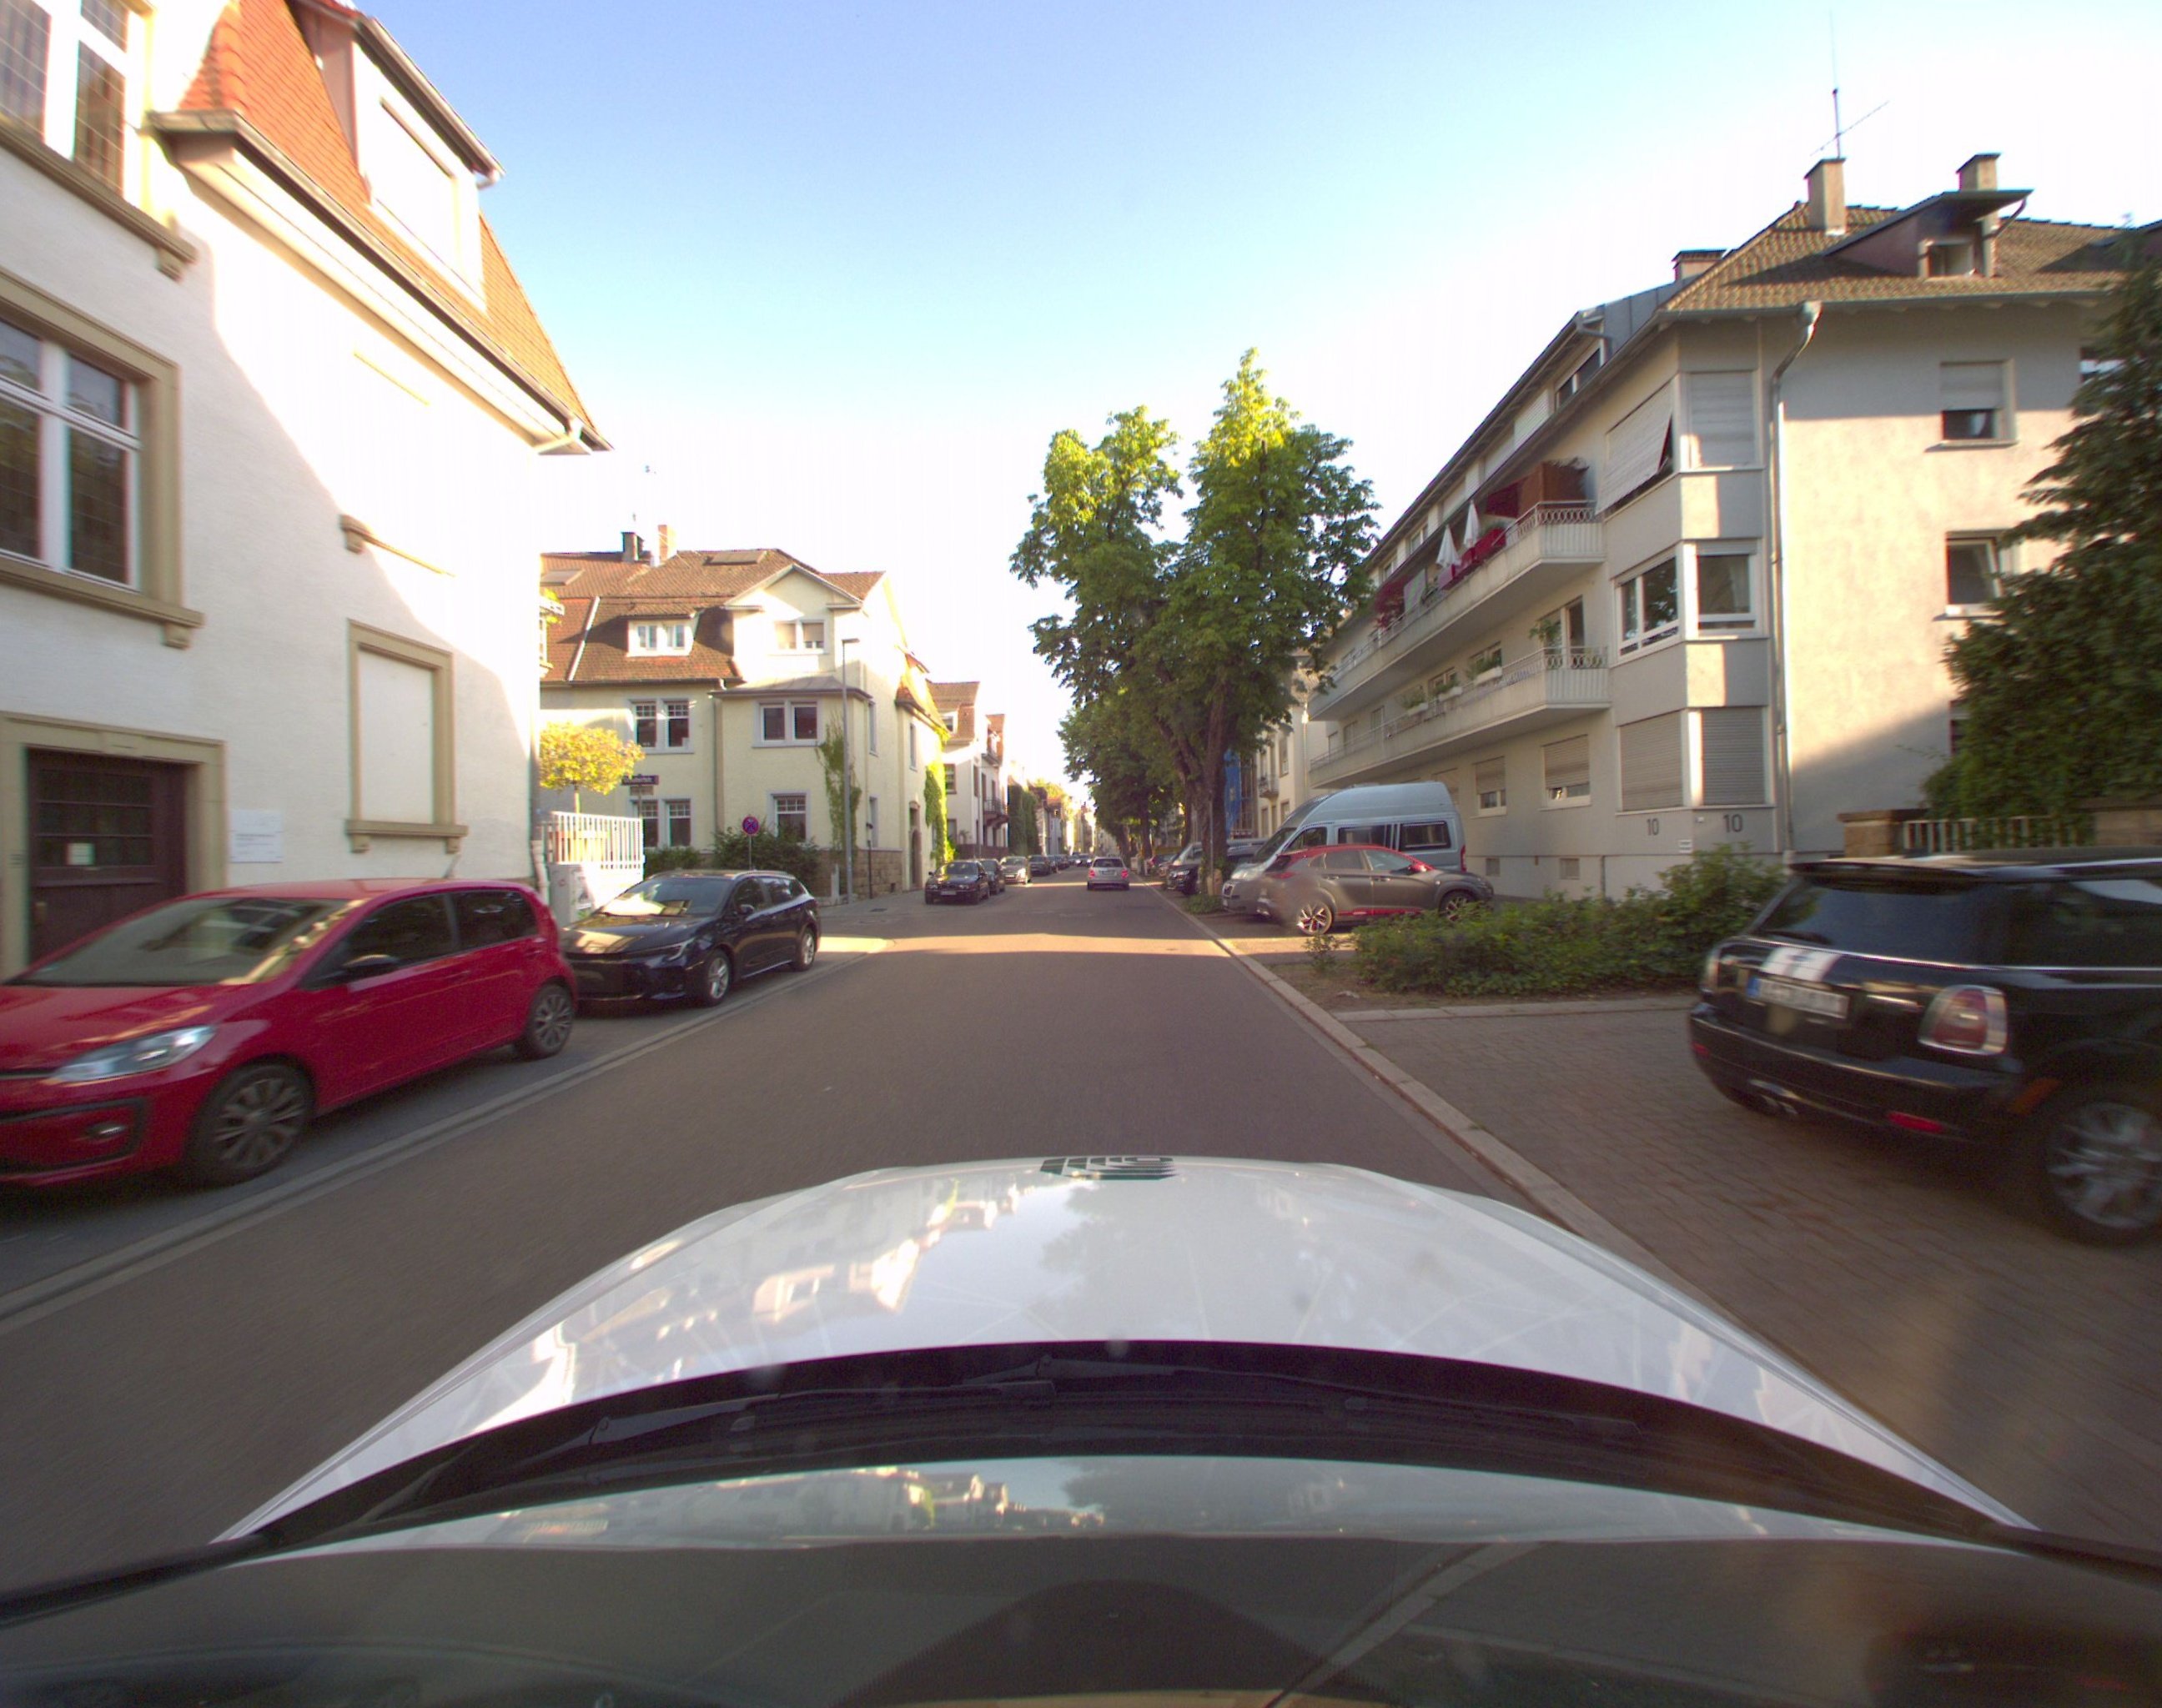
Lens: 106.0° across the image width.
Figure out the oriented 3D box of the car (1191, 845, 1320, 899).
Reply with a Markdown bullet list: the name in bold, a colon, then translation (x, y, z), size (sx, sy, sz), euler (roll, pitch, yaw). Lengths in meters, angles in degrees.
- **car**: translation (5.455, 0.566, 25.772), size (3.708, 1.554, 1.639), euler (-2, -1, 0)

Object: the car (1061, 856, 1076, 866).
- **car**: translation (-1.678, 0.923, 109.680), size (1.646, 1.324, 4.049), euler (0, 0, 4)

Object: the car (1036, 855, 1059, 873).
- **car**: translation (-2.823, 0.789, 68.492), size (1.787, 1.461, 4.776), euler (0, 0, -1)

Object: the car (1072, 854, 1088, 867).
- **car**: translation (-0.053, 0.704, 96.528), size (1.765, 1.448, 4.001), euler (-2, 0, 1)

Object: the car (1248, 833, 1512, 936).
- **car**: translation (5.359, 0.528, 14.994), size (4.175, 1.568, 1.758), euler (-3, 0, 0)

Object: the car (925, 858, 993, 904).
- **car**: translation (-4.183, 0.871, 28.557), size (1.704, 1.470, 4.633), euler (0, 0, 0)

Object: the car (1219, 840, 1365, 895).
- **car**: translation (6.008, 0.400, 23.489), size (3.708, 1.431, 1.758), euler (-2, -2, 0)

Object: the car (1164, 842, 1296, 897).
- **car**: translation (5.105, 0.522, 28.197), size (4.170, 1.723, 1.762), euler (-2, -1, -6)

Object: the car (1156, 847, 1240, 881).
- **car**: translation (6.139, 0.536, 42.974), size (4.141, 1.539, 1.851), euler (-3, 0, 1)

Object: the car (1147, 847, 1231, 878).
- **car**: translation (6.345, 0.476, 48.052), size (4.700, 1.535, 1.851), euler (-3, 0, 1)

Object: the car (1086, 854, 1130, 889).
- **car**: translation (1.177, 0.730, 35.117), size (1.777, 1.437, 3.853), euler (0, -1, 2)

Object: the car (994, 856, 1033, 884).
- **car**: translation (-3.610, 0.824, 44.185), size (1.647, 1.447, 4.007), euler (0, 0, 2)

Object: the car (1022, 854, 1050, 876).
- **car**: translation (-3.186, 0.762, 58.232), size (1.647, 1.486, 3.766), euler (0, 0, 2)

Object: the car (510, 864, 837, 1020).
- **car**: translation (-4.655, 0.884, 10.236), size (1.647, 1.454, 4.633), euler (0, 0, 2)

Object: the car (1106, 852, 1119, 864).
- **car**: translation (4.183, 0.506, 106.959), size (1.617, 1.570, 3.682), euler (-1, 0, 2)

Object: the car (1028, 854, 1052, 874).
- **car**: translation (-3.098, 0.757, 62.512), size (1.648, 1.447, 3.843), euler (0, 0, -1)

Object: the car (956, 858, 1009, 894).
- **car**: translation (-4.089, 0.869, 34.328), size (1.647, 1.415, 4.168), euler (0, 0, 1)

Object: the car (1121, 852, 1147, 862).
- **car**: translation (8.819, 0.508, 135.752), size (4.171, 1.475, 1.853), euler (-3, -1, 4)

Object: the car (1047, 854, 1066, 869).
- **car**: translation (-2.362, 0.740, 79.591), size (1.643, 1.421, 4.100), euler (0, 0, 2)

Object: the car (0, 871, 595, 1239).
- **car**: translation (-5.004, 0.895, 5.291), size (1.577, 1.477, 3.703), euler (0, 0, -2)

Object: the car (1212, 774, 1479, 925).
- **car**: translation (5.608, -0.093, 17.758), size (5.078, 2.902, 2.076), euler (-2, 0, 0)

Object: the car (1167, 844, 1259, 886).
- **car**: translation (5.945, 0.492, 36.914), size (3.931, 1.683, 1.708), euler (-3, 0, 4)

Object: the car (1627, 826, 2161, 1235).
- **car**: translation (4.896, 0.616, 3.865), size (3.390, 1.427, 1.759), euler (-3, 0, 1)

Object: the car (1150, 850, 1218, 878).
- **car**: translation (6.327, 0.612, 50.417), size (3.970, 1.492, 1.852), euler (-3, 0, 3)

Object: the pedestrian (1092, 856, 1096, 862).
- **pedestrian**: translation (3.931, 1.429, 242.043), size (1.215, 1.721, 1.505), euler (0, 0, 5)

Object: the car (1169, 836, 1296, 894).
- **car**: translation (5.681, 0.406, 30.919), size (4.456, 2.013, 1.896), euler (-1, 0, -1)
